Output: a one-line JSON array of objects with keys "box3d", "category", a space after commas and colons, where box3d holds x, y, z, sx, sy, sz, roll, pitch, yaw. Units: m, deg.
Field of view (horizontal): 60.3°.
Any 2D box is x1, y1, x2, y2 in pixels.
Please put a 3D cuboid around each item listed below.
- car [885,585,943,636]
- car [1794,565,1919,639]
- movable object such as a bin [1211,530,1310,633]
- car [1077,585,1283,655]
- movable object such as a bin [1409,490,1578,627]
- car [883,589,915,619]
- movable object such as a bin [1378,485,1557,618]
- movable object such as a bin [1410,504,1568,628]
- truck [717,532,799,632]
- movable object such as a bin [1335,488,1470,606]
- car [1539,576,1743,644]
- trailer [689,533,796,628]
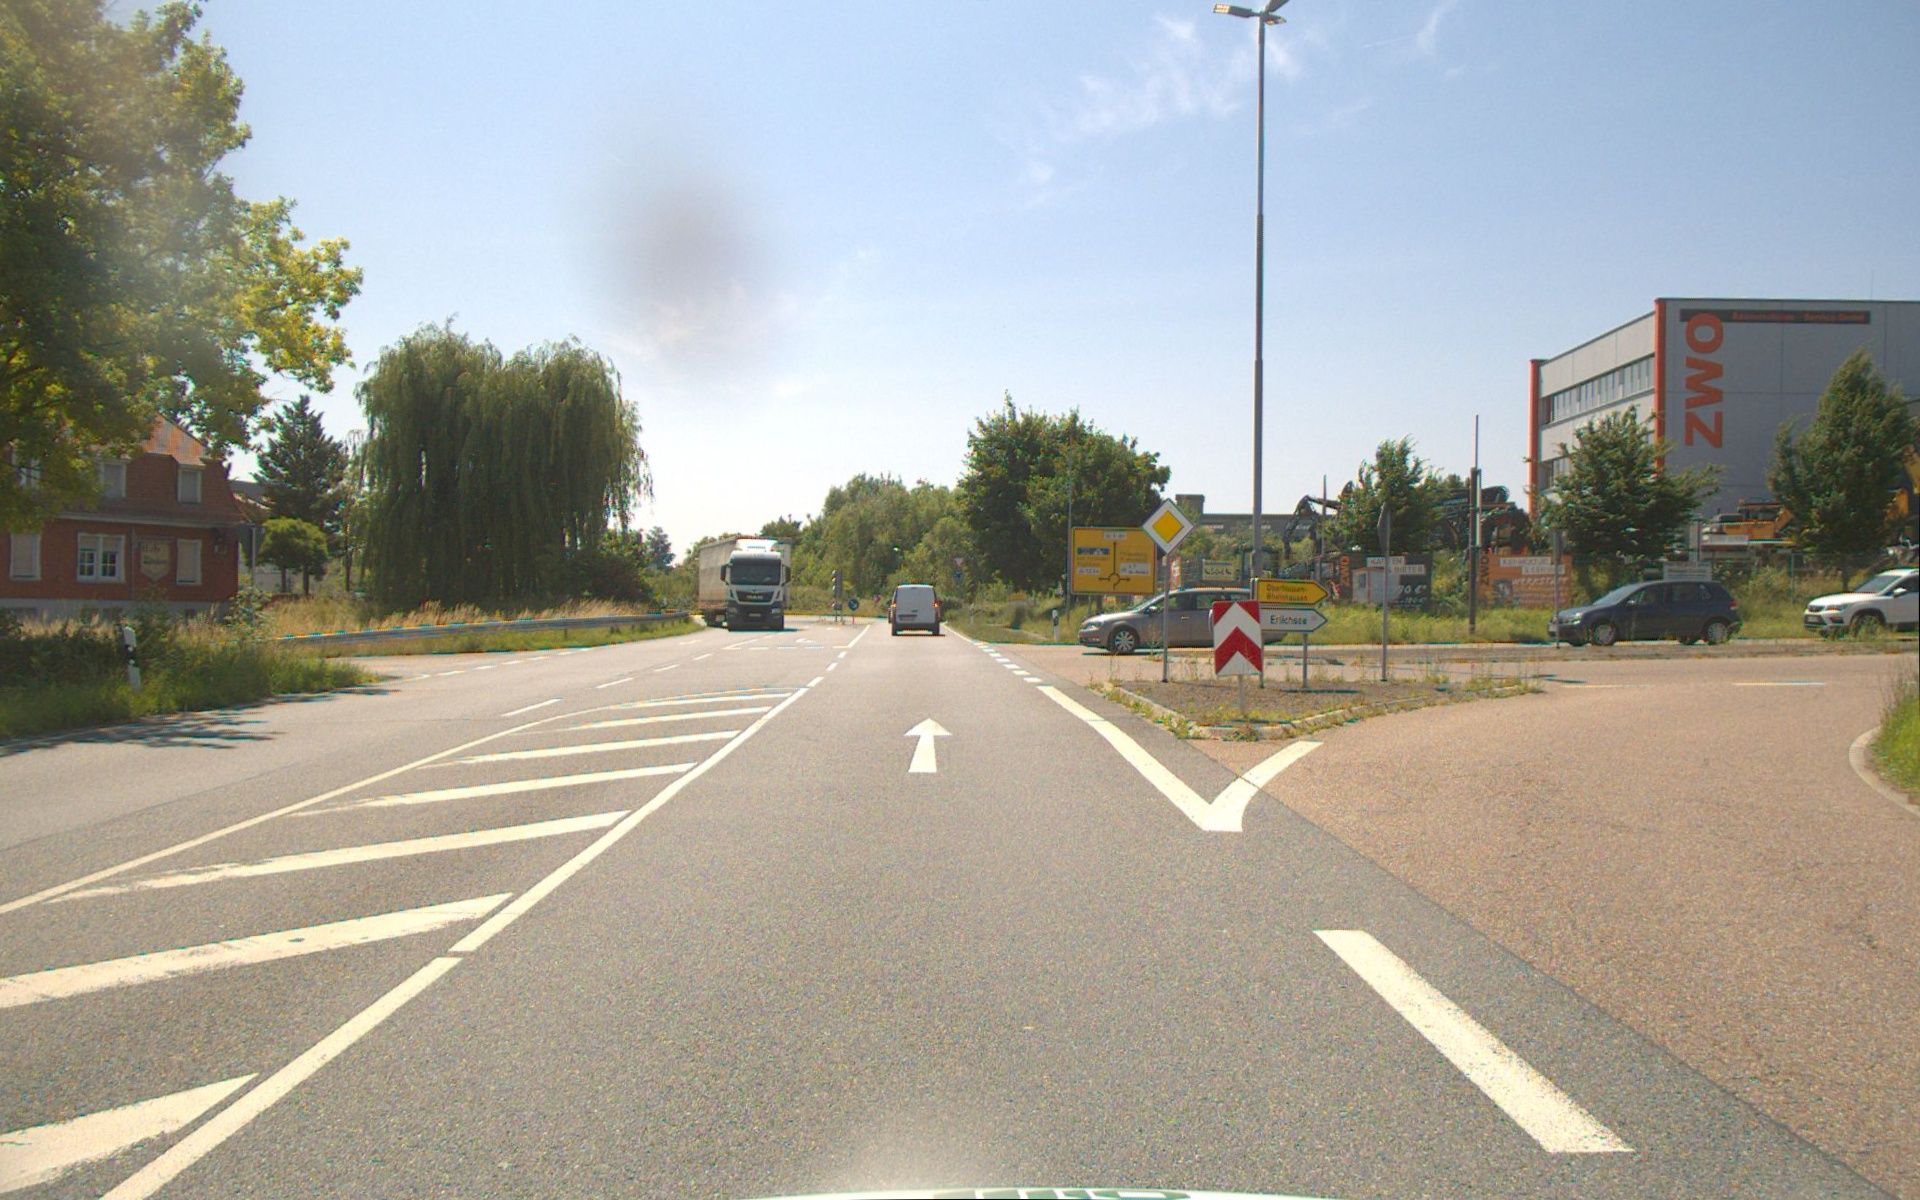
[{"box3d": [-1.694, 0.374, 59.839, 1.867, 1.763, 3.818, 1, 0, -5], "category": "car"}, {"box3d": [22.092, 0.027, 38.975, 4.000, 1.649, 1.759, -1, 2, 1], "category": "car"}, {"box3d": [10.400, -0.569, 57.626, 2.276, 3.307, 5.099, 2, -2, -2], "category": "movable object such as a bin"}, {"box3d": [4.937, 0.433, 37.558, 4.420, 1.534, 1.914, 0, 0, -1], "category": "car"}, {"box3d": [21.549, -1.628, 67.090, 5.796, 5.194, 3.109, 2, -2, 1], "category": "movable object such as a bin"}, {"box3d": [-3.477, 0.208, 93.919, 1.769, 1.583, 3.999, 0, 2, -2], "category": "car"}, {"box3d": [21.677, -2.016, 71.013, 6.455, 5.238, 3.806, 2, -2, 1], "category": "movable object such as a bin"}, {"box3d": [19.925, -1.234, 62.503, 4.980, 4.350, 2.834, 2, -2, 1], "category": "movable object such as a bin"}, {"box3d": [-9.073, -0.819, 73.595, 2.742, 4.127, 6.730, 2, 0, -14], "category": "truck"}, {"box3d": [21.317, -2.508, 79.981, 5.598, 5.362, 3.221, 2, -2, 1], "category": "movable object such as a bin"}, {"box3d": [15.328, 0.213, 37.356, 3.917, 1.465, 1.635, -1, 0, 1], "category": "car"}, {"box3d": [-10.674, -0.976, 79.576, 2.746, 4.127, 13.437, 2, 1, -17], "category": "trailer"}]
